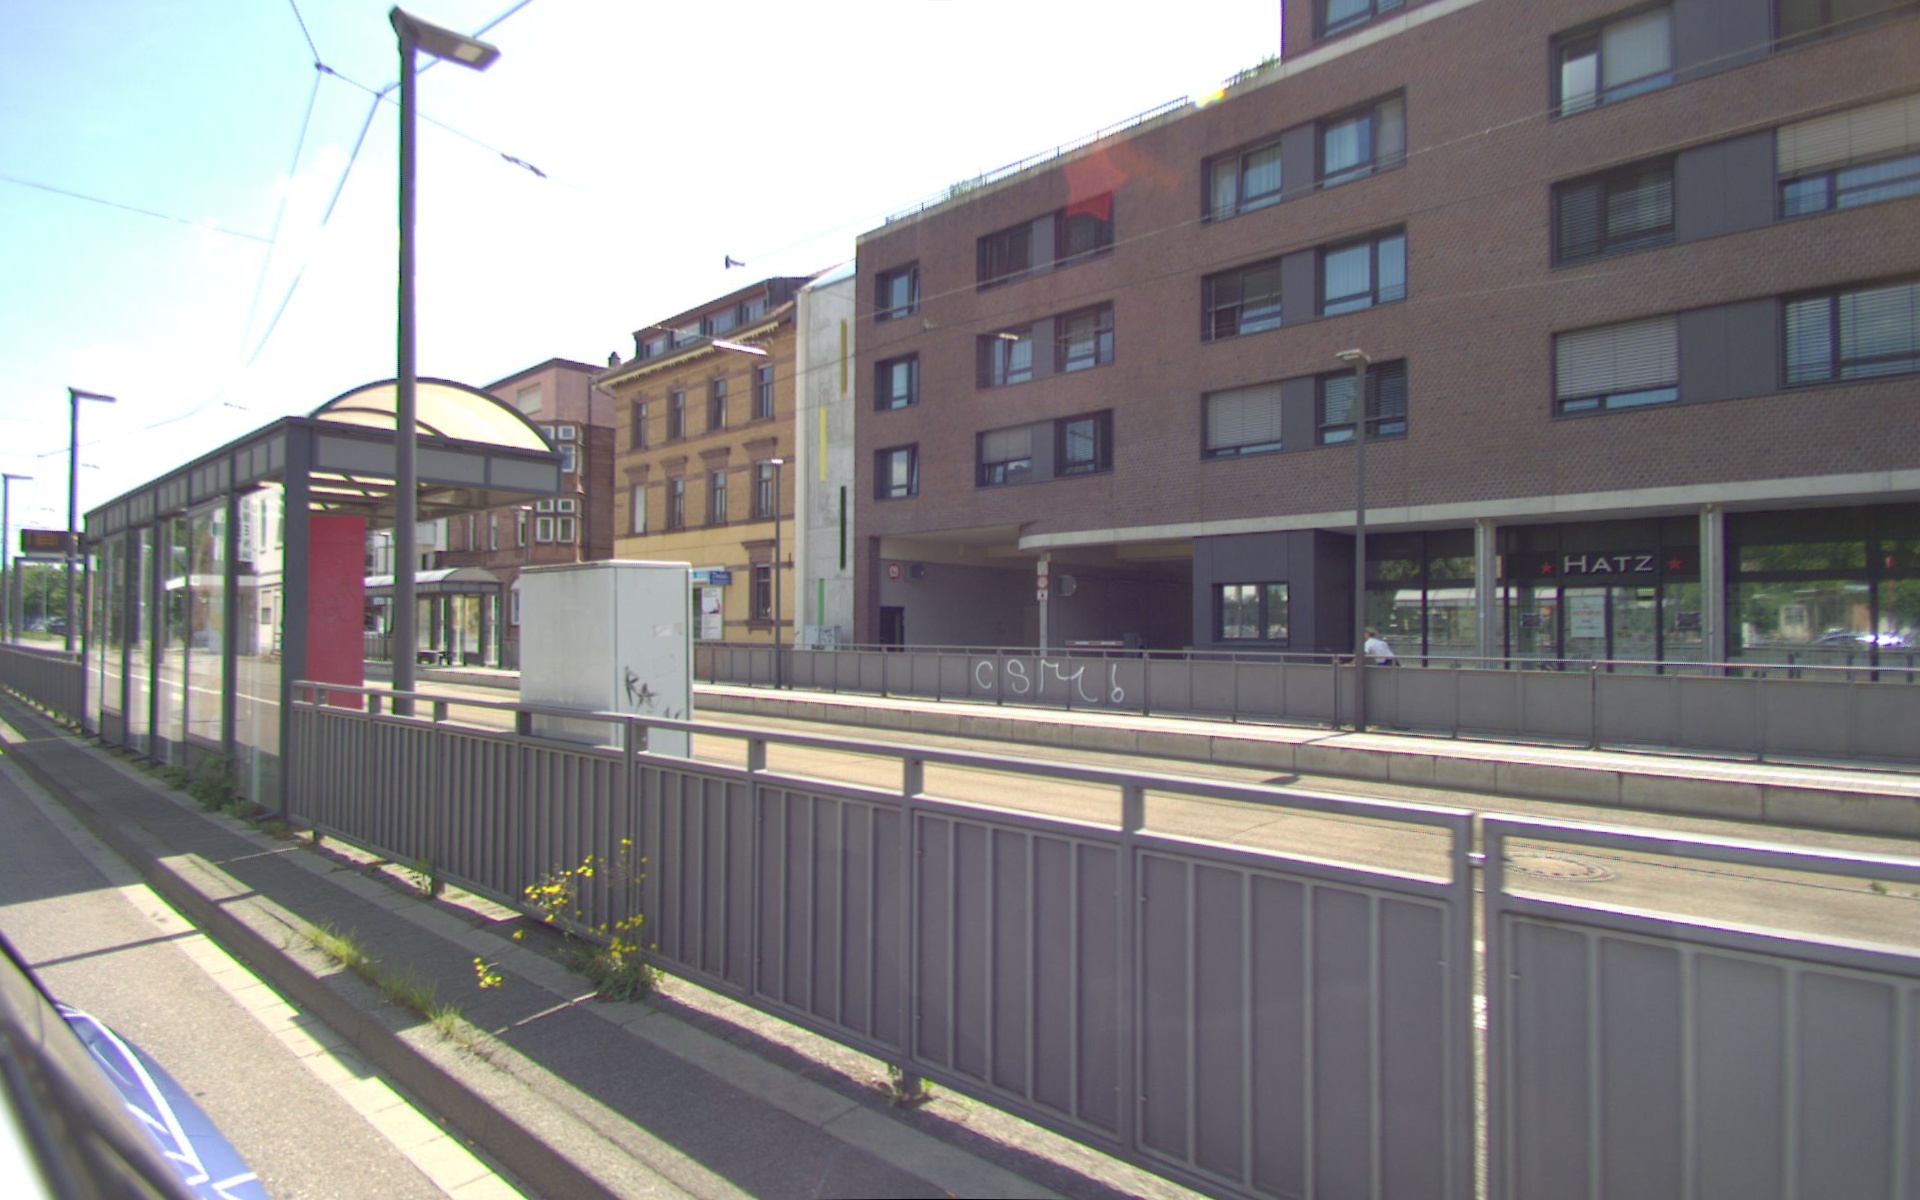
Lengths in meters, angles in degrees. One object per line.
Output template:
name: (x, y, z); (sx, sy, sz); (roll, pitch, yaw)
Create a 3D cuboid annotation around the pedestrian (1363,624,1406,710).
pedestrian: (7.057, 1.112, 16.818); (0.536, 1.395, 0.430); (-1, -4, 43)

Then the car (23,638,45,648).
car: (-134.408, 6.208, 146.934); (4.401, 1.482, 1.972); (-2, -3, 43)

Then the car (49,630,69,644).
car: (-115.476, 4.722, 129.643); (1.703, 1.696, 4.283); (3, -4, -43)

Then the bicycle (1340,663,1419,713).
bicycle: (6.972, 1.448, 16.837); (1.187, 0.767, 0.289); (-1, -4, 44)

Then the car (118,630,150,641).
car: (-137.701, 5.965, 168.693); (1.804, 1.749, 3.942); (-1, -4, 43)
